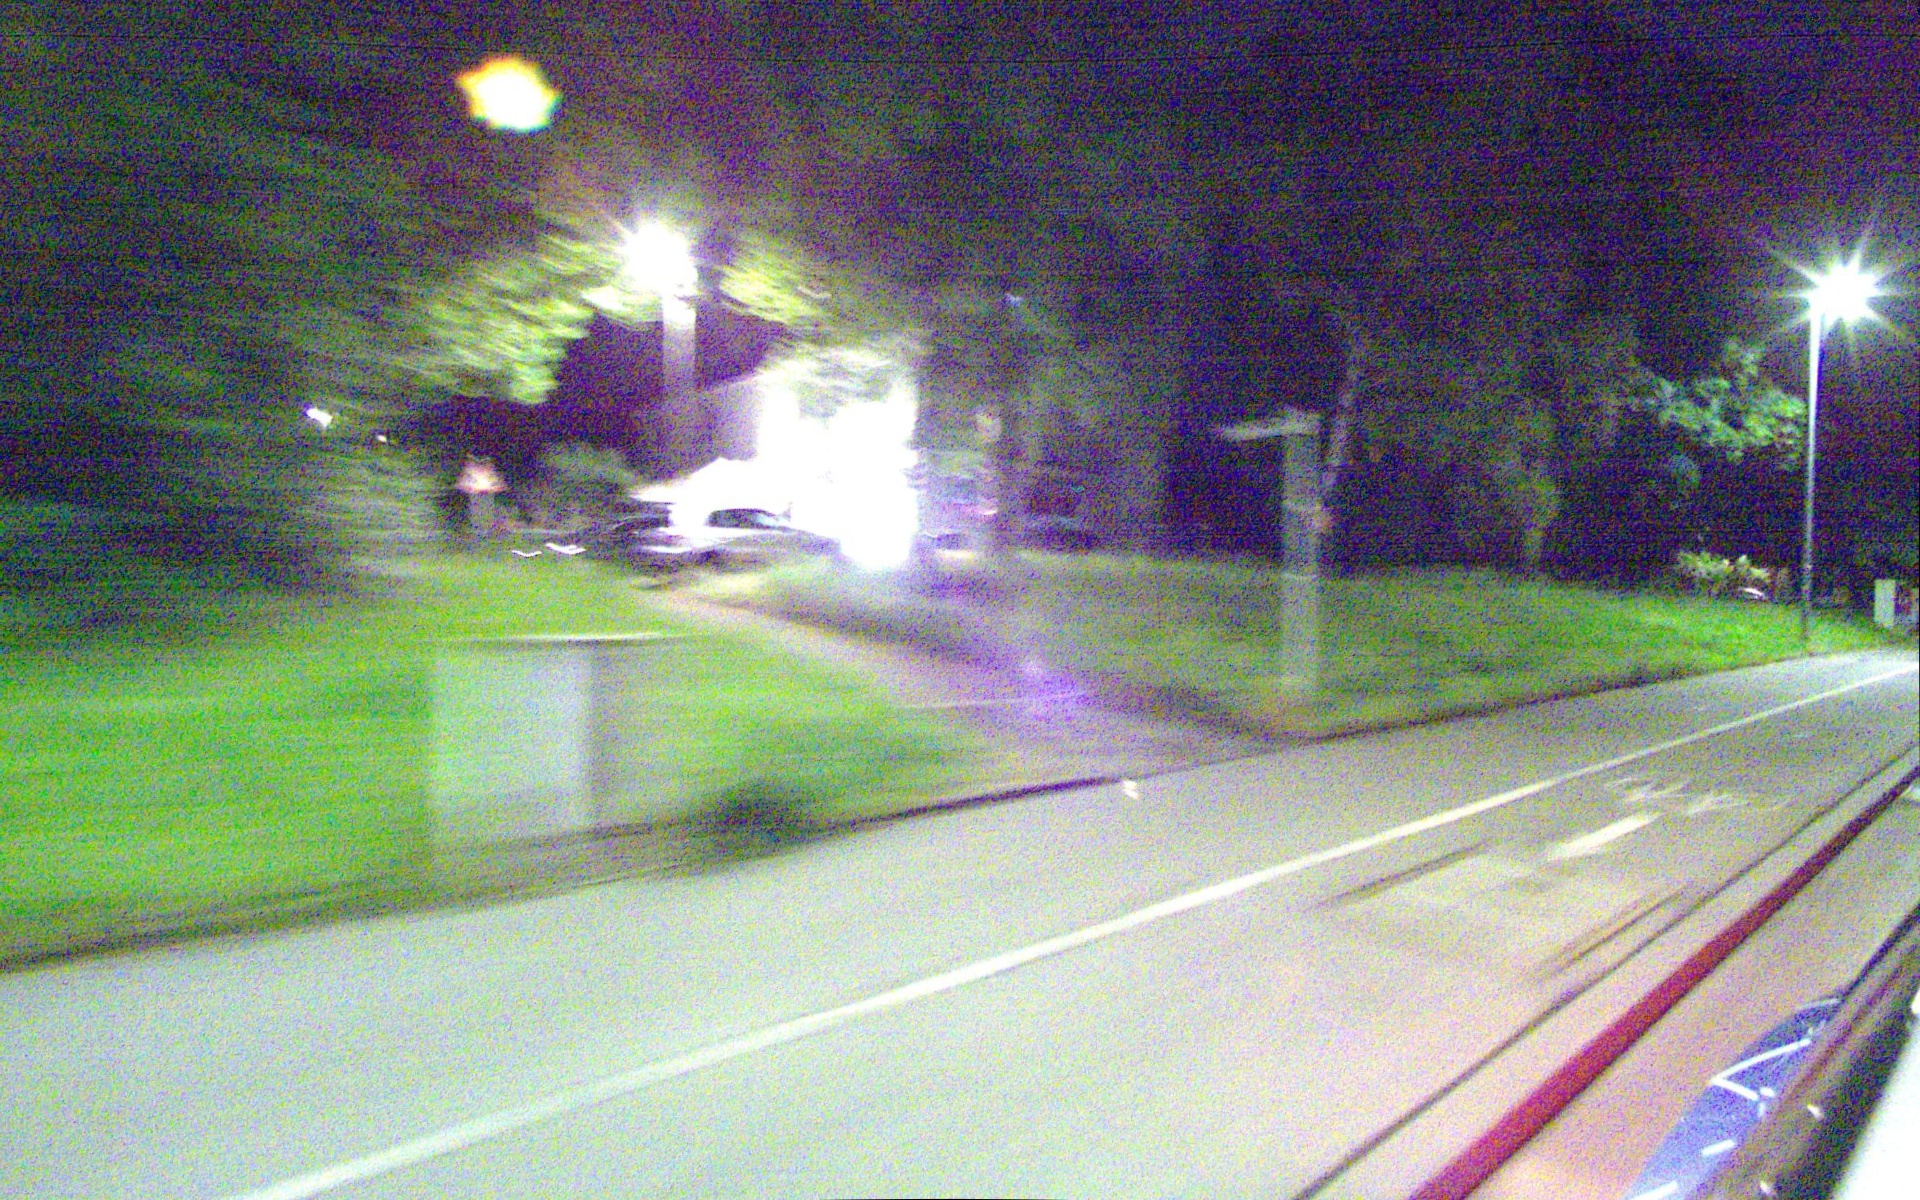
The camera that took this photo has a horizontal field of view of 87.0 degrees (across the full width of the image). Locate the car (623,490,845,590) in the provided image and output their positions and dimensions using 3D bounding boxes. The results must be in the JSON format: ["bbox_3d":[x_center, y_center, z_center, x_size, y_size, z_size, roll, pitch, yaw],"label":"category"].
[{"bbox_3d":[-4.666,-1.208,21.115,4.039,1.860,1.957,0,3,-39],"label":"car"}]

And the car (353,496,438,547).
[{"bbox_3d":[-21.582,-2.989,38.623,1.924,1.759,4.203,0,4,-43],"label":"car"}]

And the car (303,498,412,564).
[{"bbox_3d":[-17.859,-2.054,29.913,1.924,1.759,4.203,0,4,-43],"label":"car"}]
